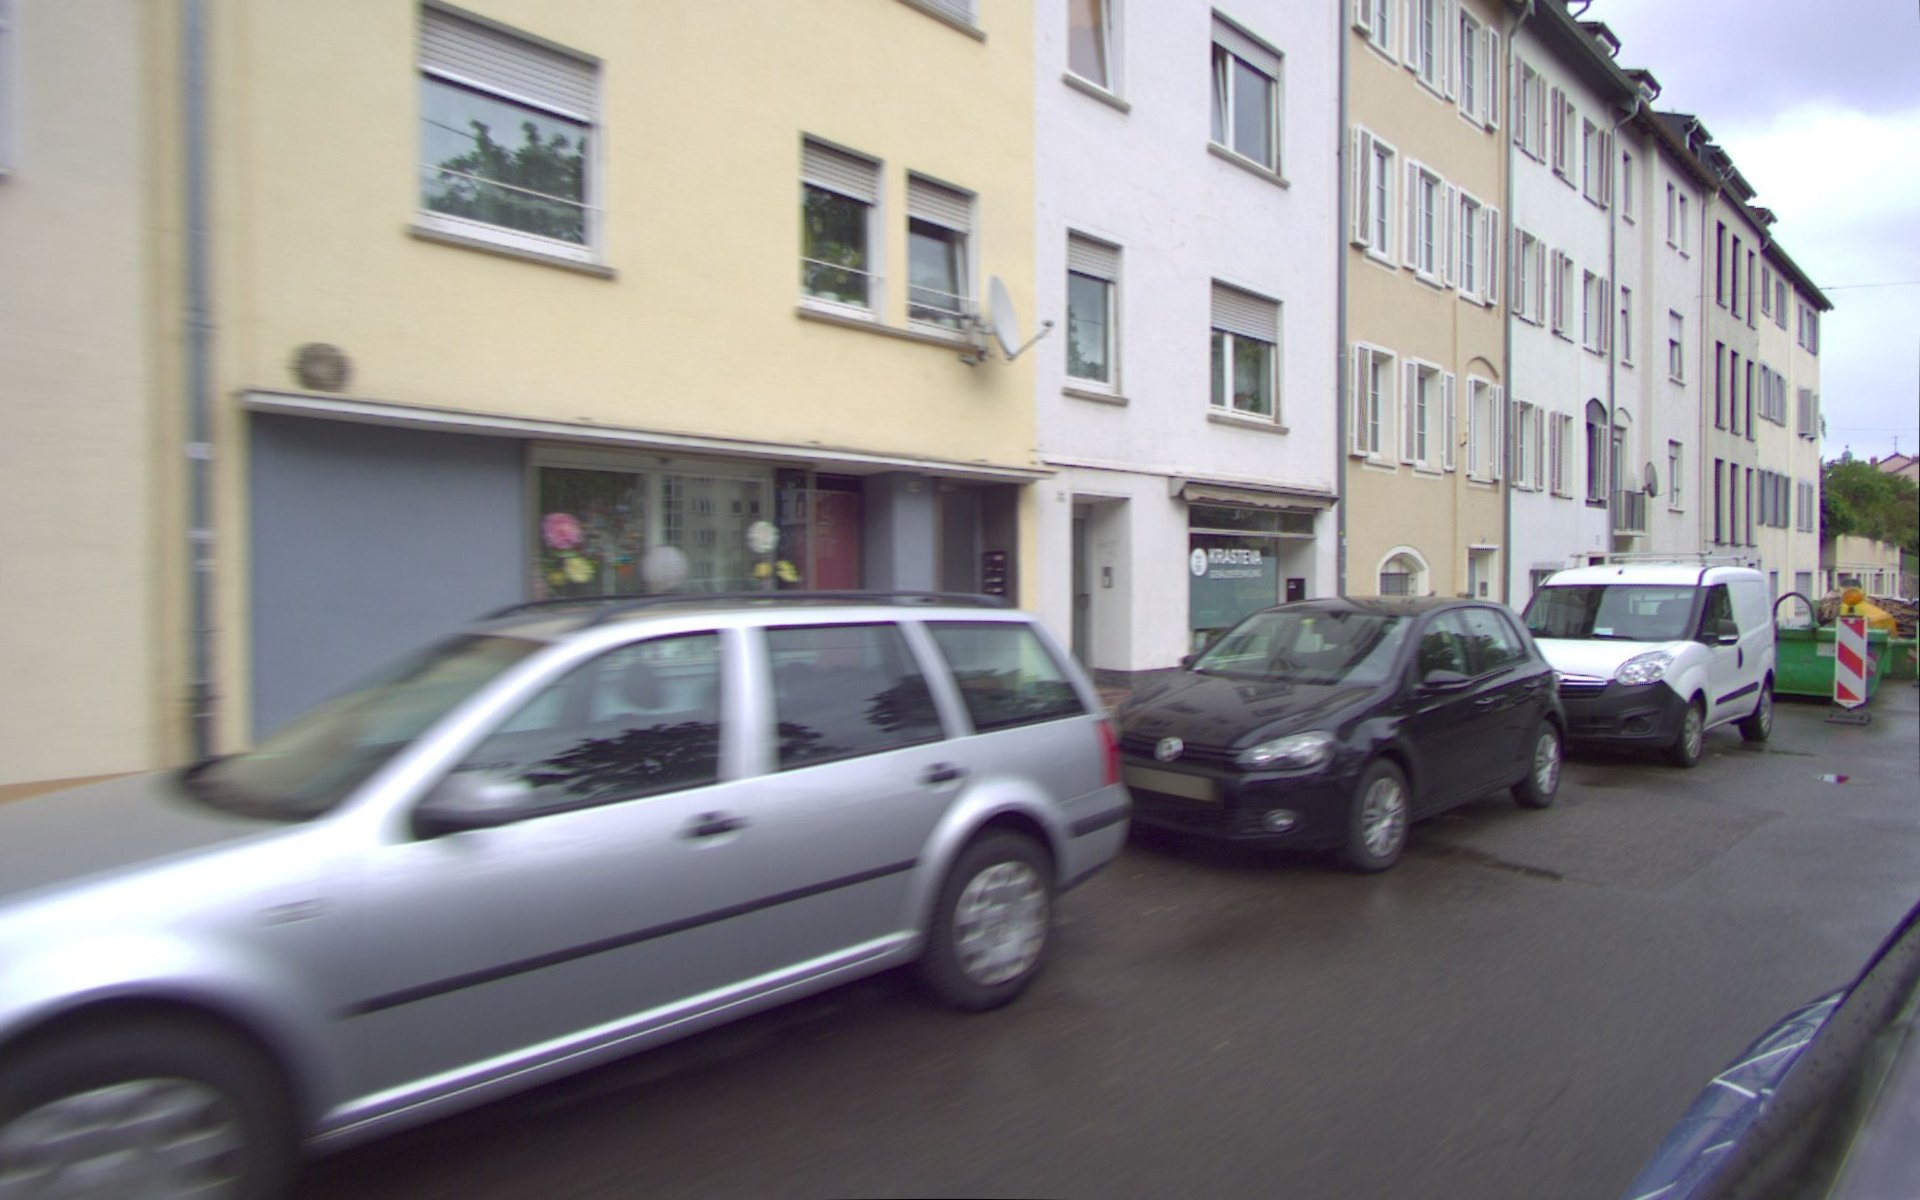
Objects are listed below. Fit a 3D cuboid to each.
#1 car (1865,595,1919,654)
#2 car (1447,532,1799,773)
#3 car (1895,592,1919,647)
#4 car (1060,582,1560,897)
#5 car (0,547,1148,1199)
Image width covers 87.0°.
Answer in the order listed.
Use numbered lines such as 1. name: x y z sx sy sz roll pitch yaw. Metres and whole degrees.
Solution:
1. car: 24.526 0.589 25.851 3.774 1.429 1.629 0 -1 -41
2. car: 6.809 0.414 10.232 4.163 1.948 1.821 0 0 -40
3. car: 28.581 0.533 29.357 3.931 1.544 1.718 0 -1 -41
4. car: 2.394 0.643 6.530 3.441 1.489 1.579 0 1 -42
5. car: -1.294 0.645 3.382 4.027 1.519 1.666 0 1 -41
